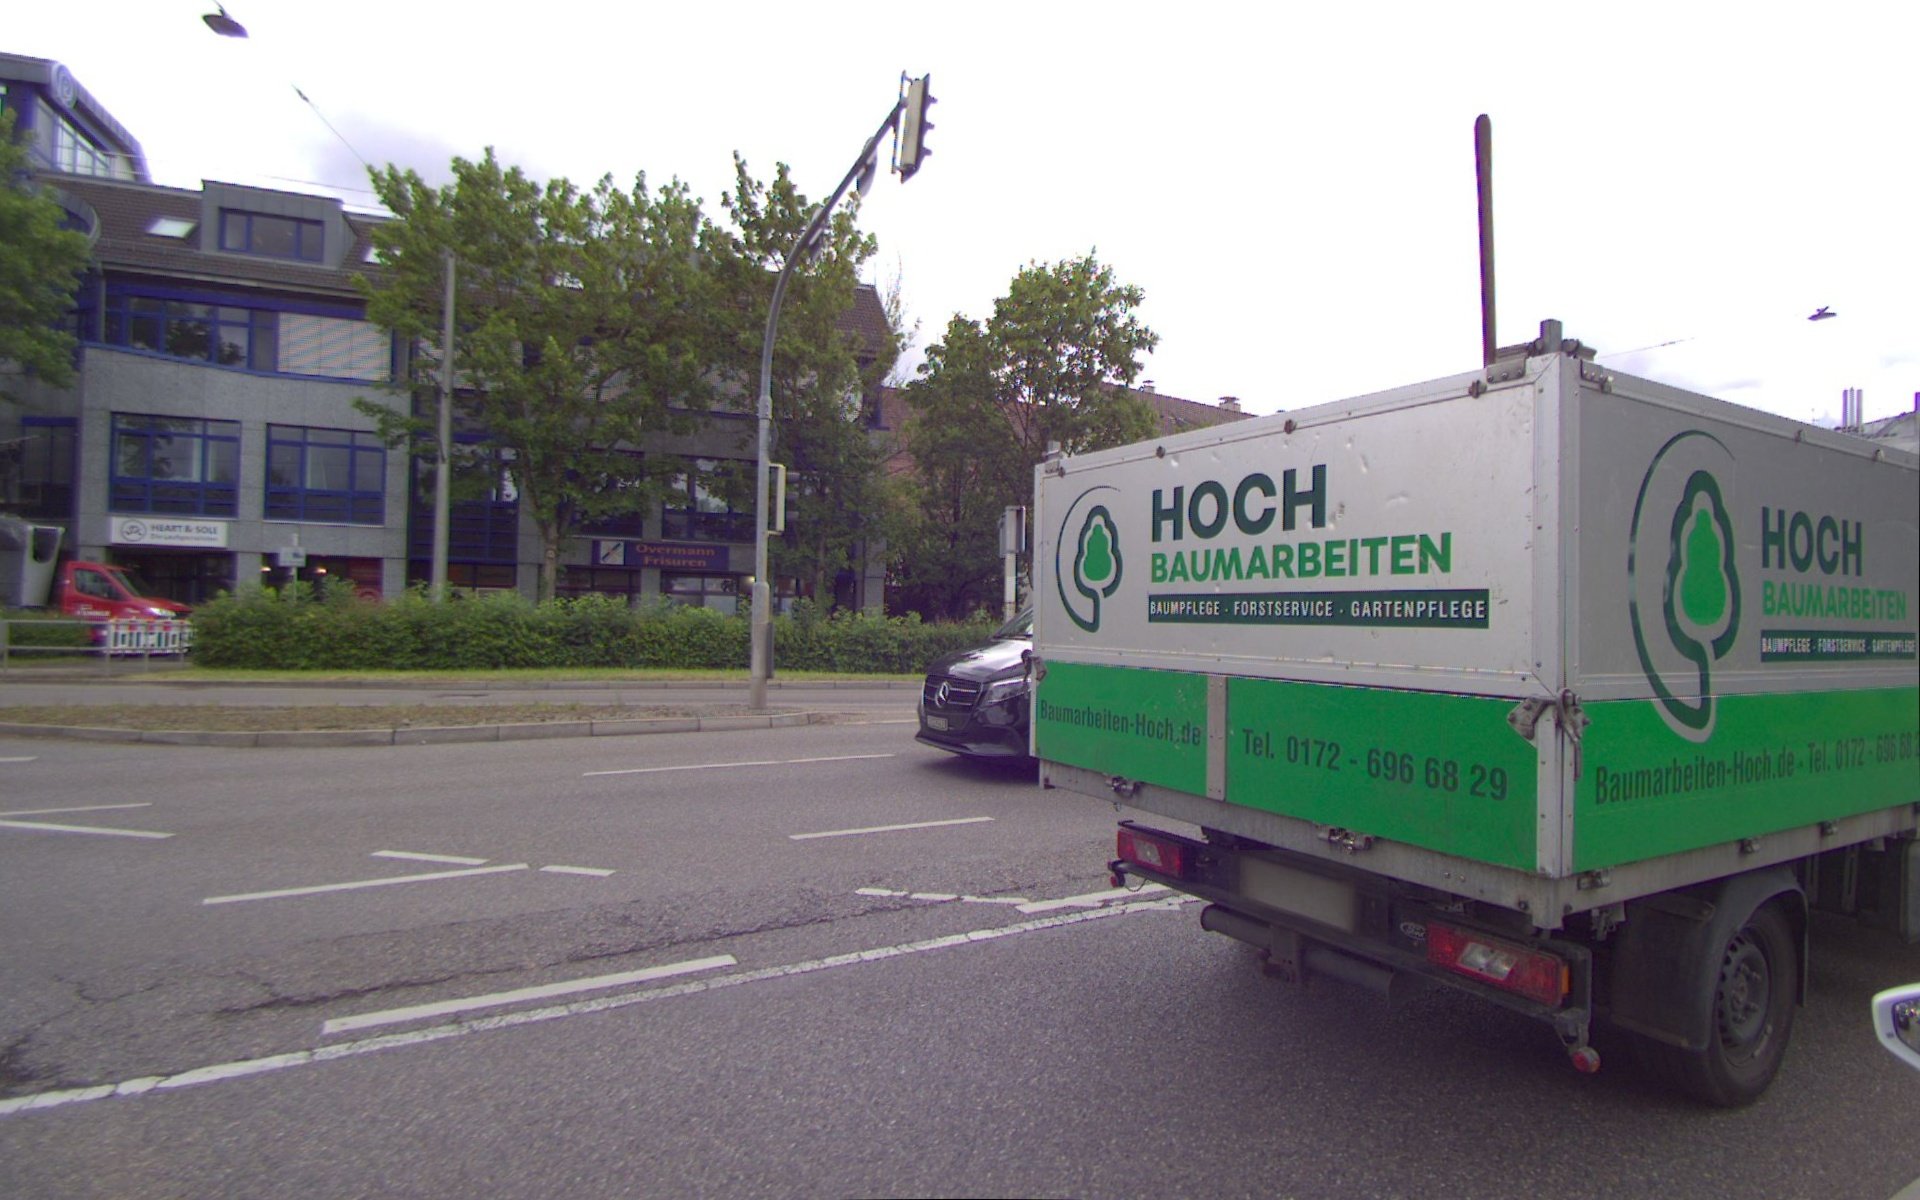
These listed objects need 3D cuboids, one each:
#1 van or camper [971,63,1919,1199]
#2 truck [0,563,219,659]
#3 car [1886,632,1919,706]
[{"bbox_3d":[3.159,0.244,4.753,5.900,2.697,2.330,1,0,-33],"label":"van or camper"},{"bbox_3d":[-22.421,0.249,26.615,3.929,2.419,1.995,0,2,-12],"label":"truck"},{"bbox_3d":[29.959,2.037,30.055,4.776,2.041,1.984,-1,2,-30],"label":"car"}]
